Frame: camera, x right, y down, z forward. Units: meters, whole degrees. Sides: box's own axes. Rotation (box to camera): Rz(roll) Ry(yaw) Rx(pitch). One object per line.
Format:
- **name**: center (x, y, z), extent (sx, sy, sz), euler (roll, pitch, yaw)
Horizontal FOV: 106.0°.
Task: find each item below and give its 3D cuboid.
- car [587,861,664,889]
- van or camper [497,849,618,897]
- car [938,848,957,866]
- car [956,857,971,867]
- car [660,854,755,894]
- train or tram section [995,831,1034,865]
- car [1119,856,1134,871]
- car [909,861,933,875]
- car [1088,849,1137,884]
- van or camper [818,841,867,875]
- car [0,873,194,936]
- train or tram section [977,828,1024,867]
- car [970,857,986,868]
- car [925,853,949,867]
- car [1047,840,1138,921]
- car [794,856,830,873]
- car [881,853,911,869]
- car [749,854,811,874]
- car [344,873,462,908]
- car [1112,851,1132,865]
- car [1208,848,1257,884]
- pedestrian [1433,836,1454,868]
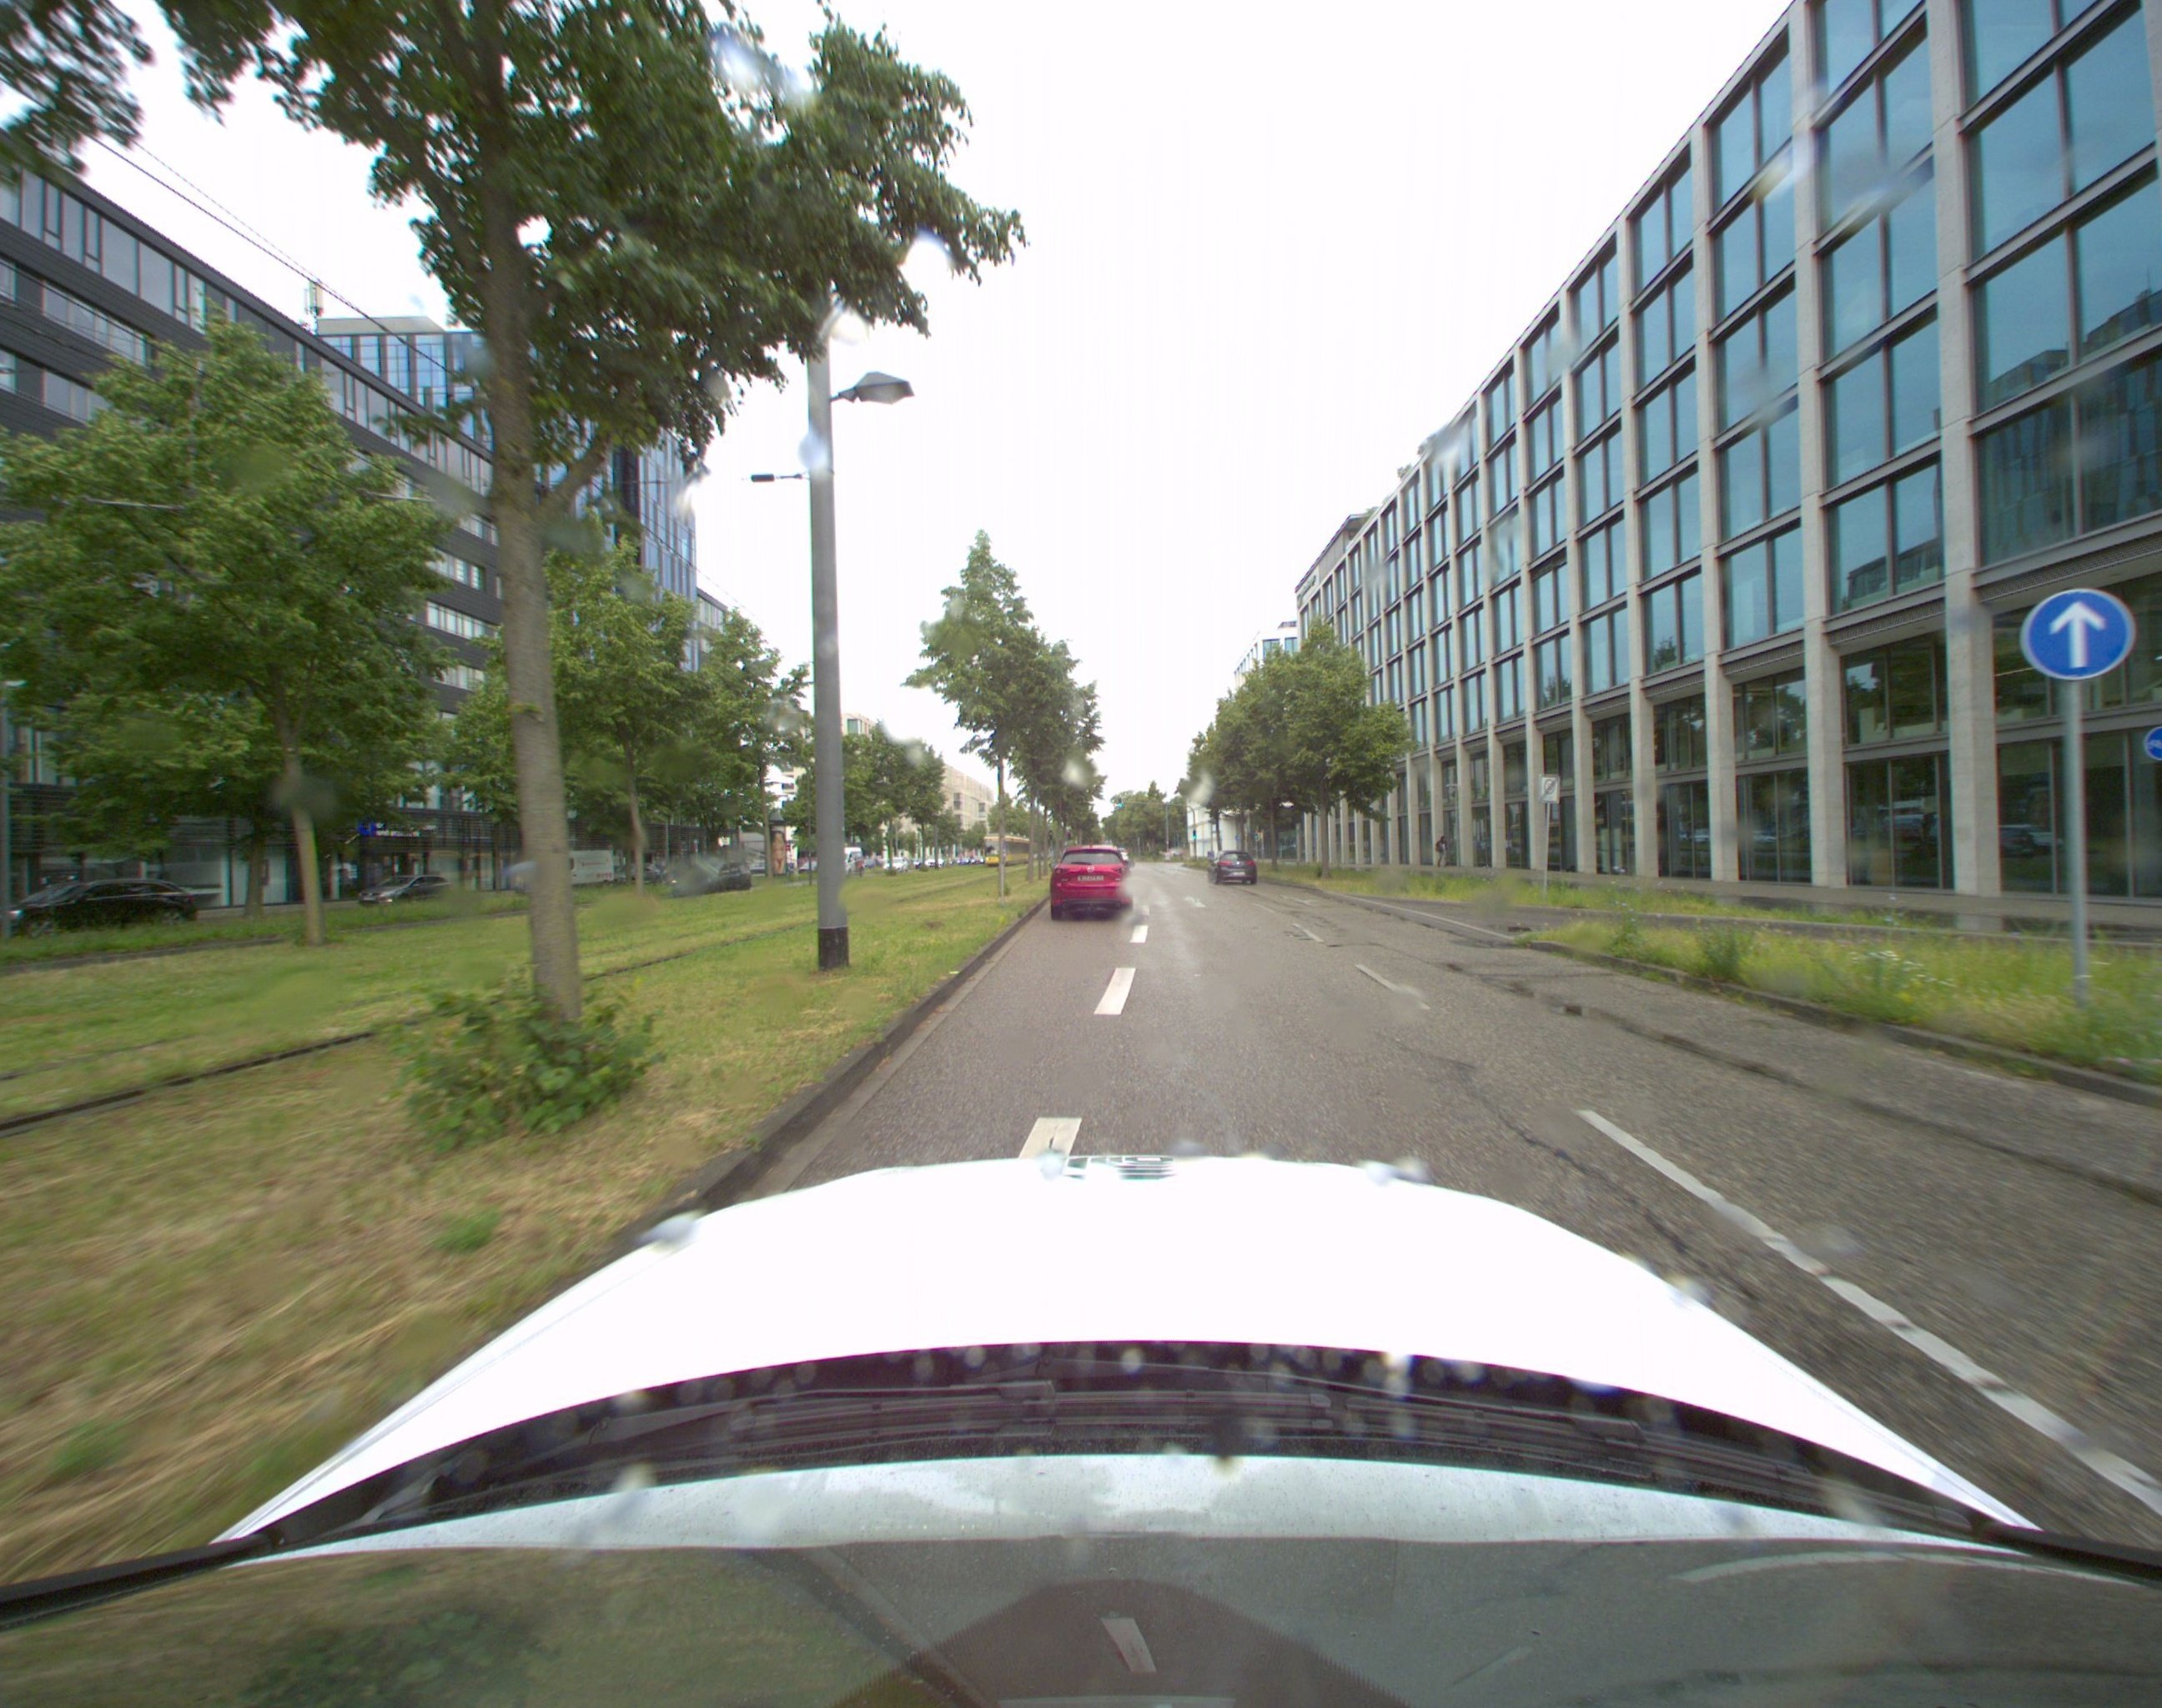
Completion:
- **car**: center (-27.351, 1.217, 49.078), extent (1.987, 1.521, 4.606), euler (-1, 0, 0)
- **van or camper**: center (-27.449, 0.933, 43.008), extent (2.424, 2.315, 5.852), euler (-1, 0, 1)
- **car**: center (-20.022, 0.446, 122.164), extent (2.250, 2.561, 4.650), euler (-1, 0, -3)
- **car**: center (-19.693, 1.298, 136.766), extent (1.987, 1.618, 3.999), euler (-2, 0, 0)
- **car**: center (-15.879, 0.807, 34.891), extent (1.856, 1.524, 4.481), euler (-2, 0, 2)
- **train or tram section**: center (-7.822, -0.691, 98.185), extent (3.117, 3.659, 15.068), euler (-1, 0, 1)
- **car**: center (6.539, 1.345, 117.275), extent (1.986, 2.013, 4.001), euler (-2, 0, 1)
- **car**: center (-18.917, 1.646, 96.410), extent (1.878, 1.459, 4.001), euler (1, 0, 1)
- **car**: center (1.493, 0.516, 36.874), extent (1.950, 1.465, 3.788), euler (-1, 0, 6)
- **van or camper**: center (-18.220, 0.268, 62.459), extent (1.902, 2.410, 5.404), euler (-2, 0, 2)
- **car**: center (-27.759, 1.328, 22.537), extent (1.696, 1.449, 4.242), euler (-1, 0, 1)
- **train or tram section**: center (-8.131, -0.641, 83.909), extent (3.117, 3.659, 13.410), euler (-1, 0, 1)
- **car**: center (-16.407, 1.321, 129.959), extent (1.987, 1.618, 3.999), euler (-2, 0, 0)
- **car**: center (-14.857, 0.621, 84.111), extent (1.704, 1.404, 4.001), euler (-2, 0, 1)
- **car**: center (0.275, 0.560, 19.288), extent (1.892, 1.677, 4.000), euler (-1, 0, 1)
- **car**: center (-26.496, 0.989, 80.384), extent (1.987, 1.521, 4.606), euler (-1, 0, 0)
- **car**: center (-18.130, 0.642, 79.814), extent (1.878, 1.459, 4.001), euler (-2, 0, 1)
- **car**: center (-25.304, 0.836, 68.478), extent (4.694, 1.521, 1.981), euler (-2, 0, -29)
- **car**: center (-30.825, 1.631, 37.214), extent (1.810, 1.378, 4.184), euler (-1, 0, 1)
- **car**: center (4.403, 0.420, 87.245), extent (1.958, 1.437, 4.558), euler (0, 0, 5)
- **car**: center (6.577, 0.494, 35.695), extent (1.735, 1.465, 3.786), euler (-1, 0, 5)
- **pedestrian**: center (20.378, -0.106, 45.738), extent (0.714, 1.714, 0.861), euler (-3, 0, 0)
